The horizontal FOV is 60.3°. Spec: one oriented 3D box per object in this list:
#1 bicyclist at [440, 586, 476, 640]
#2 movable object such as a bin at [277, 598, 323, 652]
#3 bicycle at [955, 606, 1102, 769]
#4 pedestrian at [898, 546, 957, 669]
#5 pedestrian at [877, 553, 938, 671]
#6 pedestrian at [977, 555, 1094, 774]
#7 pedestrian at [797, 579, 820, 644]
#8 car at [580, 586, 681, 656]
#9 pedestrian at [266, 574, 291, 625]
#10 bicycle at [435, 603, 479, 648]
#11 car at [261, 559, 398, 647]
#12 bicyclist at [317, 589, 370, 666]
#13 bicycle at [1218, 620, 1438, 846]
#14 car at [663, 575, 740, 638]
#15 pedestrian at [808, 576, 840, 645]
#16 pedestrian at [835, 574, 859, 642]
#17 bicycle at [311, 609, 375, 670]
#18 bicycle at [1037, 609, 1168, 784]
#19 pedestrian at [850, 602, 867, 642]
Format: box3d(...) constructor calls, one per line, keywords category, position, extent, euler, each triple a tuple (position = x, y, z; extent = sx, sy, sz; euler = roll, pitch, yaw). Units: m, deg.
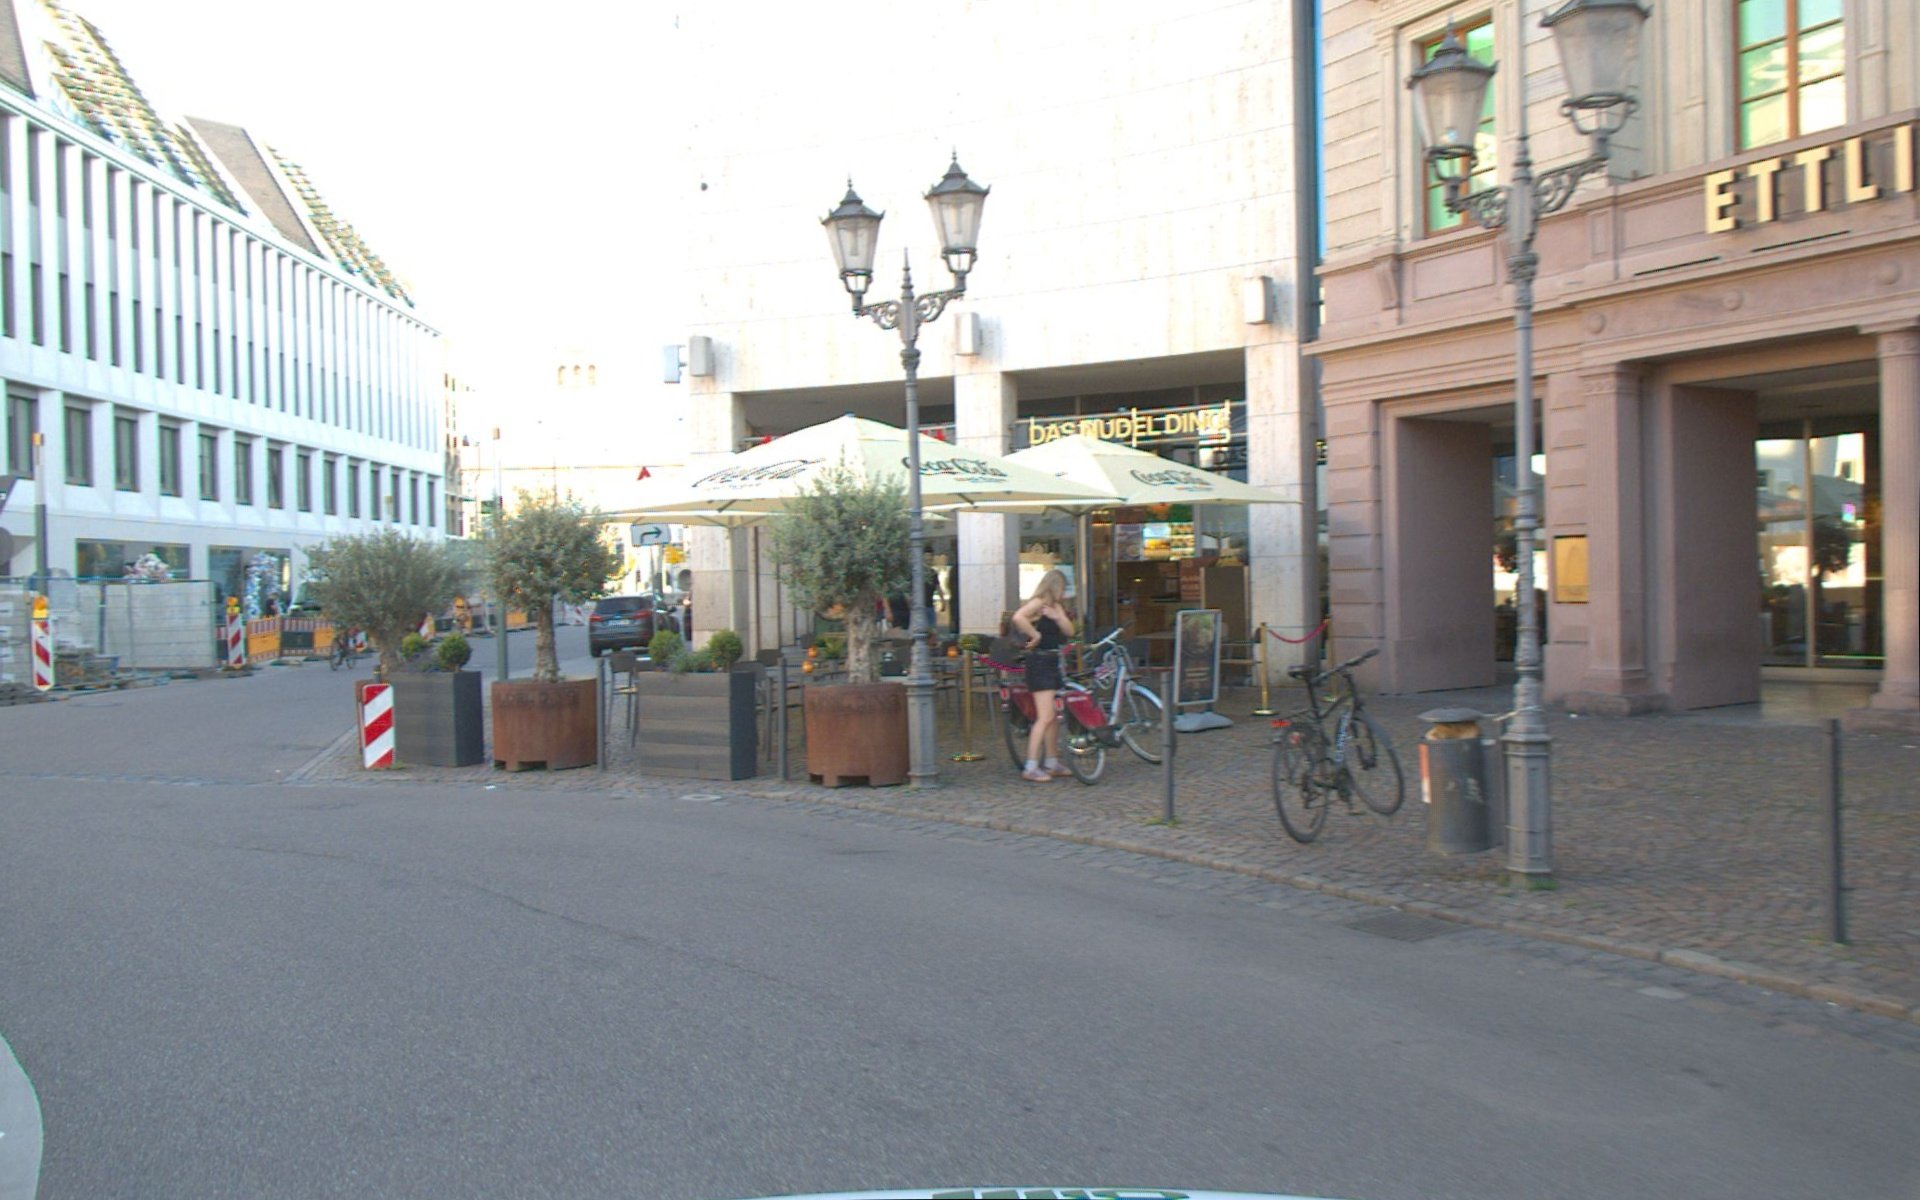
box3d(category="bicyclist", position=(-14.811, 0.370, 48.822), extent=(0.781, 1.559, 0.973), euler=(-1, 1, -6))
box3d(category="movable object such as a bin", position=(-18.844, 0.712, 47.253), extent=(1.026, 1.492, 1.388), euler=(-1, 0, -15))
box3d(category="bicycle", position=(0.606, 0.689, 13.778), extent=(0.593, 1.147, 1.907), euler=(-1, 3, 22))
box3d(category="pedestrian", position=(-0.510, 0.116, 26.012), extent=(0.701, 1.894, 0.669), euler=(-1, 1, 20))
box3d(category="pedestrian", position=(-0.802, 0.180, 25.221), extent=(0.701, 1.775, 0.669), euler=(-1, 1, 20))
box3d(category="pedestrian", position=(0.586, 0.475, 12.678), extent=(0.731, 1.616, 0.715), euler=(-1, 1, 15))
box3d(category="pedestrian", position=(-4.083, 0.311, 44.616), extent=(0.579, 1.728, 0.695), euler=(-2, 1, -5))
box3d(category="car", position=(-8.203, 0.476, 41.490), extent=(1.760, 1.516, 4.191), euler=(-5, 1, -2))
box3d(category="pedestrian", position=(-21.796, -0.011, 52.912), extent=(0.532, 1.605, 0.579), euler=(-2, 0, -5))
box3d(category="bicycle", position=(-14.819, 0.732, 48.794), extent=(0.781, 1.238, 2.231), euler=(-1, 1, -6))
box3d(category="car", position=(-19.429, 0.051, 51.334), extent=(2.130, 2.513, 5.996), euler=(-1, 1, -3))
box3d(category="bicyclist", position=(-13.448, 0.577, 36.099), extent=(0.781, 1.630, 1.229), euler=(-1, 1, -7))
box3d(category="bicycle", position=(2.329, 0.765, 10.285), extent=(0.595, 1.147, 1.899), euler=(0, 3, 36))
box3d(category="car", position=(-7.779, 0.166, 50.028), extent=(1.733, 1.666, 4.055), euler=(-5, 1, -2))
box3d(category="pedestrian", position=(-3.475, 0.255, 42.410), extent=(0.749, 1.710, 0.876), euler=(-1, 2, -4))
box3d(category="pedestrian", position=(-3.090, 0.216, 45.221), extent=(0.621, 1.804, 0.775), euler=(-1, 2, -3))
box3d(category="bicycle", position=(-13.442, 0.846, 36.094), extent=(0.781, 1.238, 2.230), euler=(-1, 1, -7))
box3d(category="bicycle", position=(1.143, 0.708, 12.893), extent=(0.592, 1.147, 1.908), euler=(-1, 3, 17))
box3d(category="pedestrian", position=(-2.642, 0.570, 42.983), extent=(0.411, 1.003, 0.526), euler=(-1, 2, -3))
